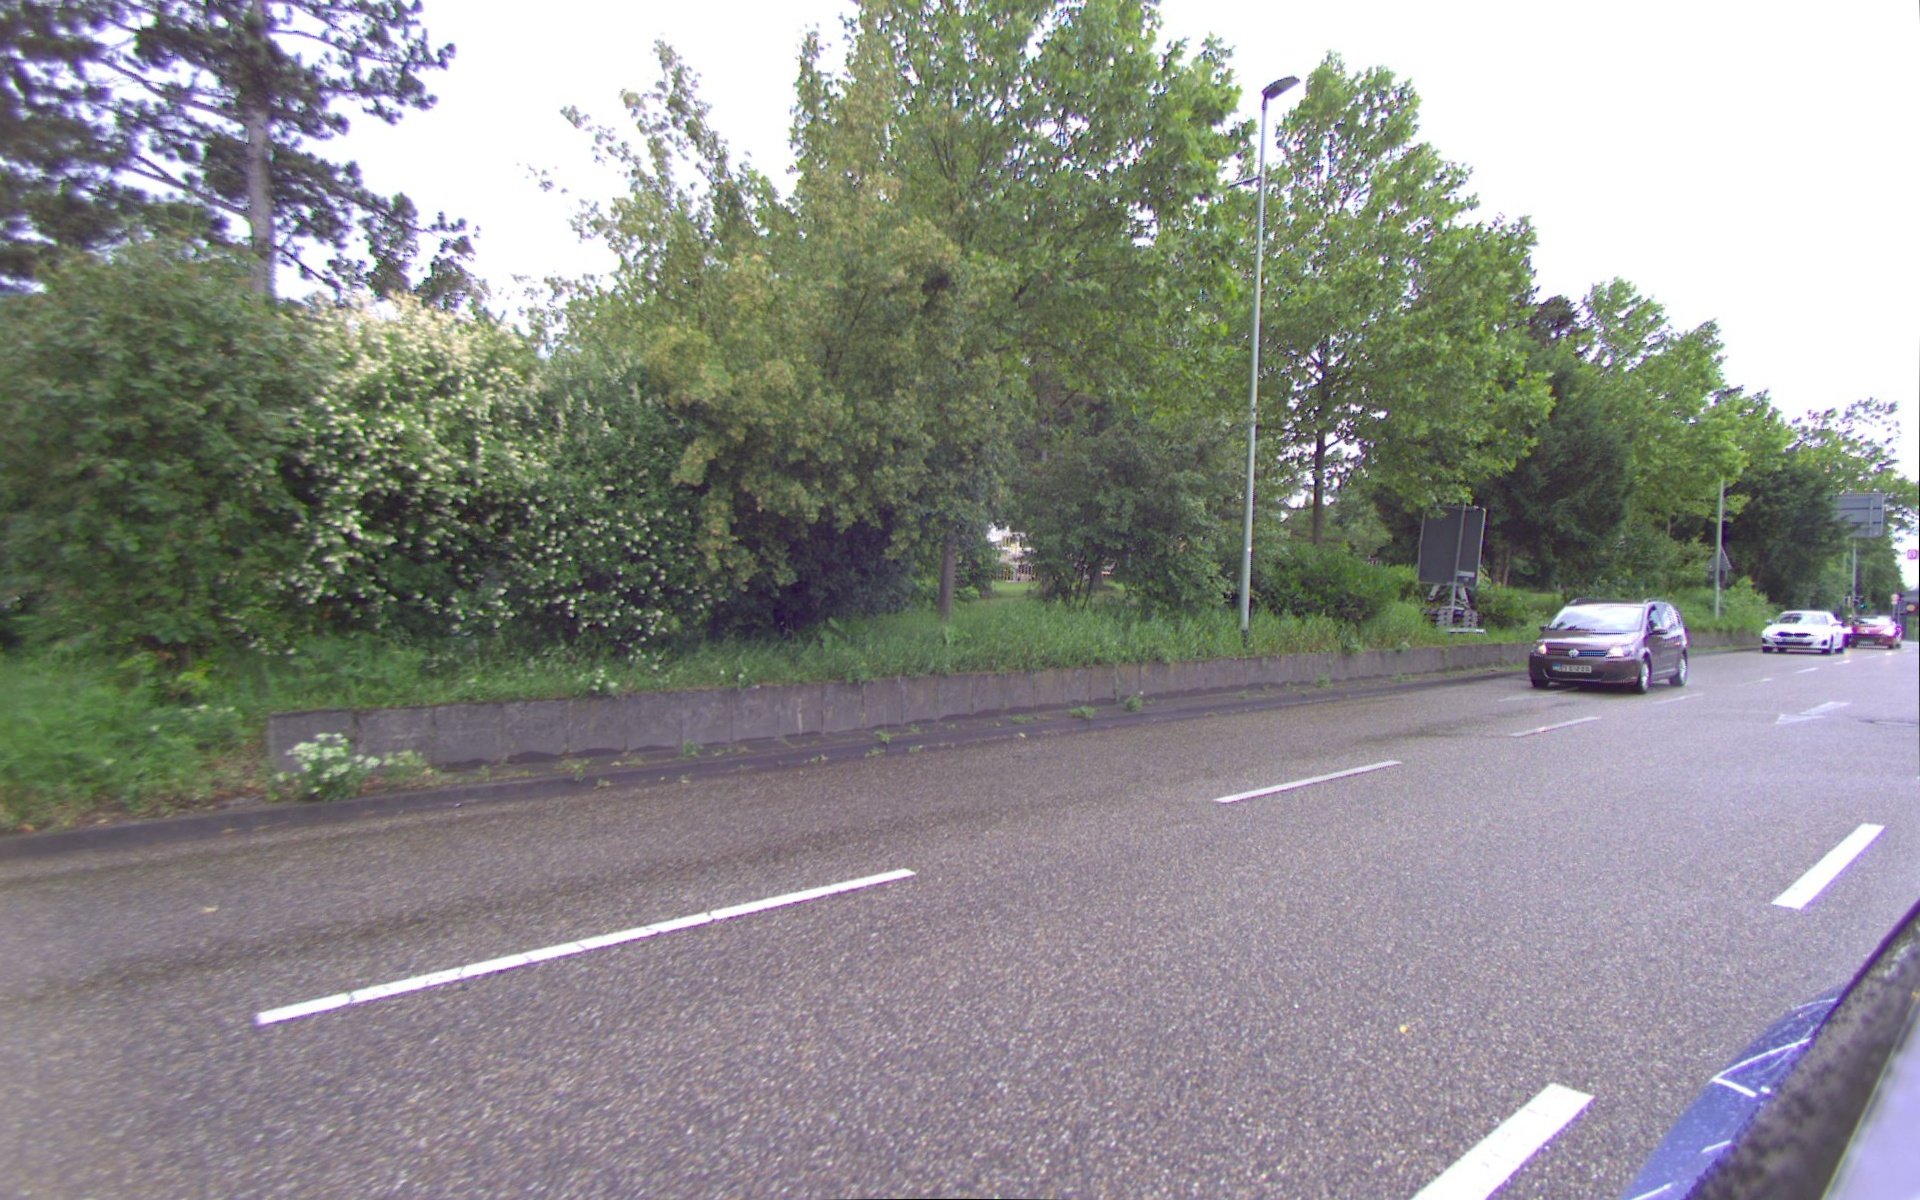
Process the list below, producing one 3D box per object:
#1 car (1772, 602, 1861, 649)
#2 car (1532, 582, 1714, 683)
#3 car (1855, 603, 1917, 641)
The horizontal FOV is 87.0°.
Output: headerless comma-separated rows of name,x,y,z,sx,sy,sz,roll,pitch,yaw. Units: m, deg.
car,29.338,0.894,34.612,4.599,1.475,1.782,2,-1,-43
car,12.059,0.574,18.312,3.910,1.629,1.750,2,-1,-41
car,39.082,0.943,42.694,3.477,1.475,1.632,2,-1,-43
